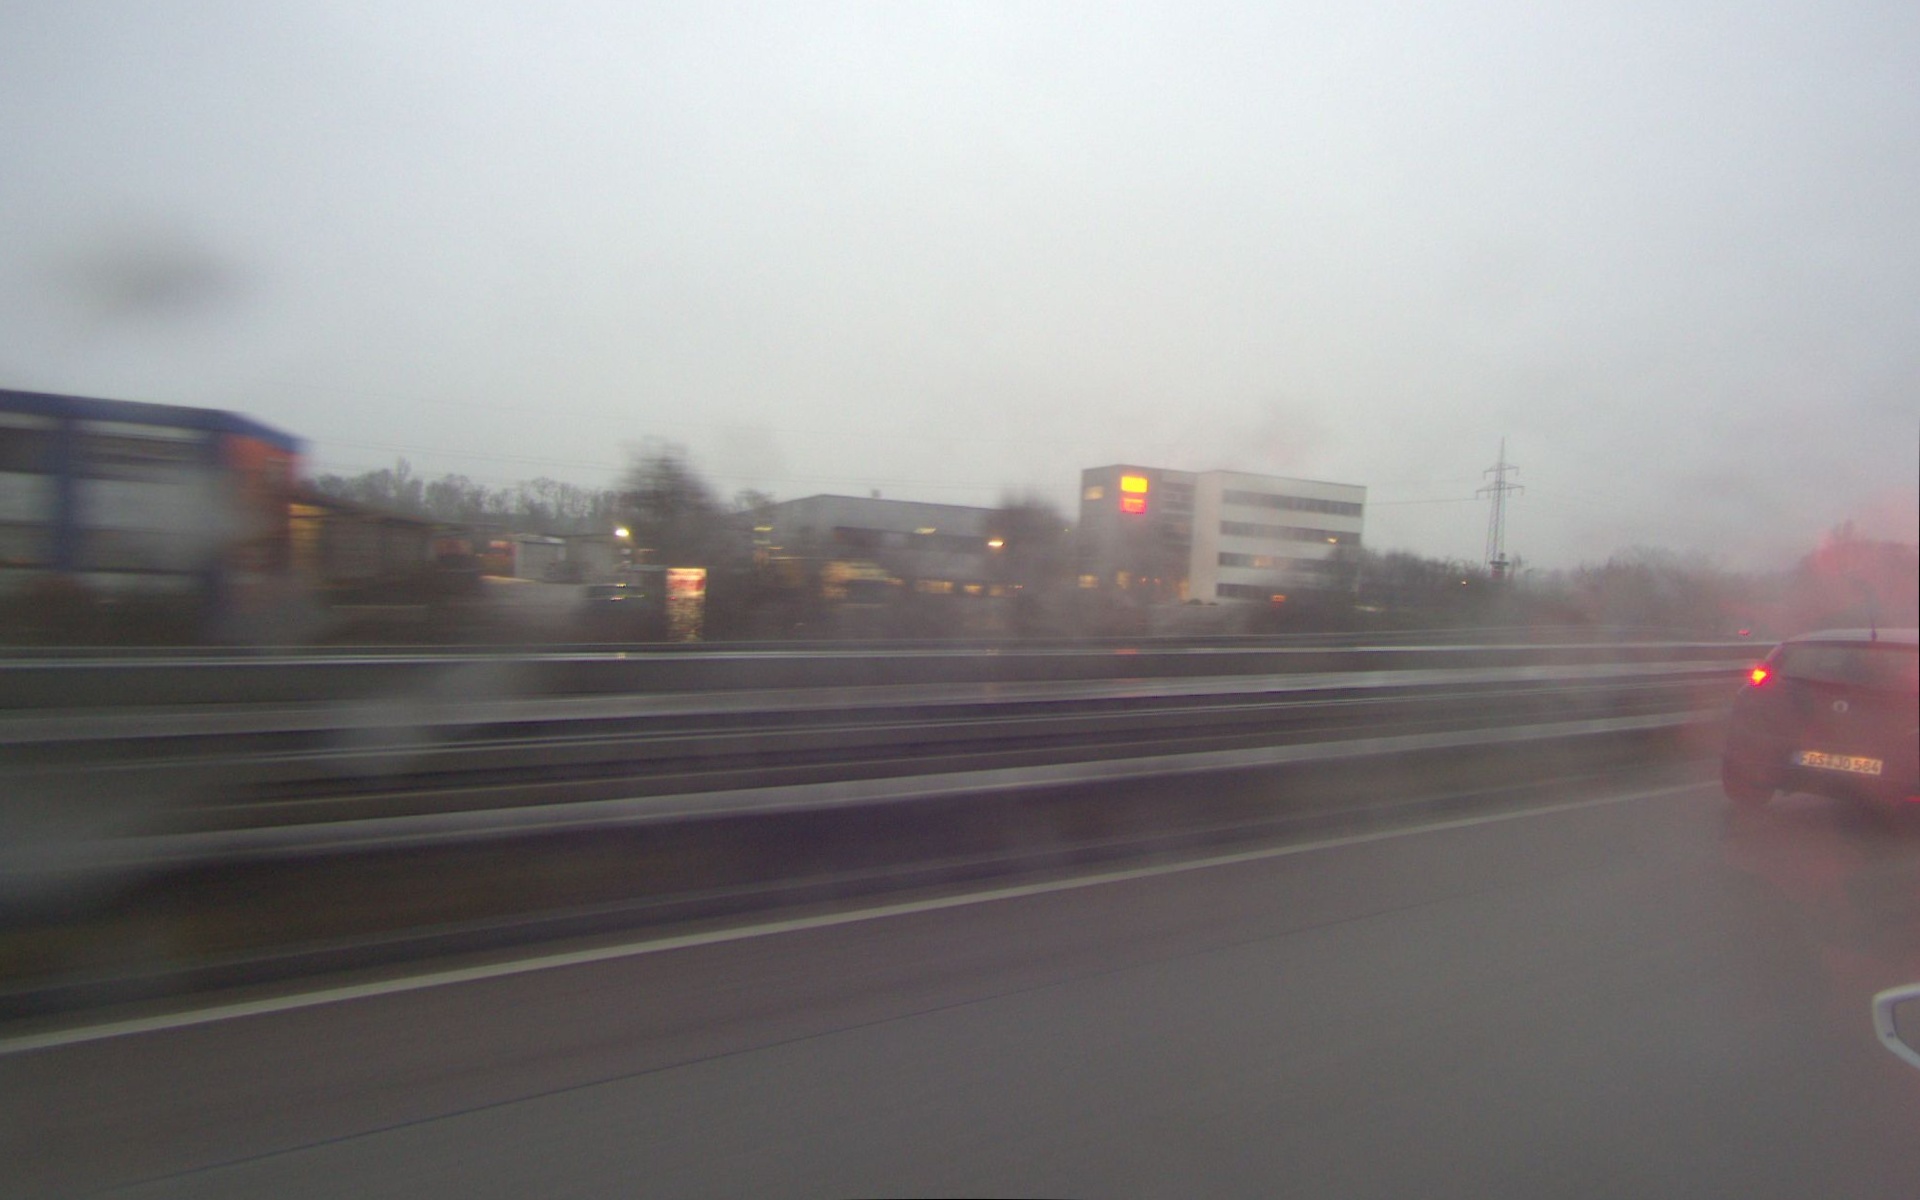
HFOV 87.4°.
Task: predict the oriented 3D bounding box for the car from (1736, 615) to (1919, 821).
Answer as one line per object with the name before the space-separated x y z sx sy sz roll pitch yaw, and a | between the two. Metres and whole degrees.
car | 8.313 0.897 8.388 3.956 1.410 1.616 2 1 -32
